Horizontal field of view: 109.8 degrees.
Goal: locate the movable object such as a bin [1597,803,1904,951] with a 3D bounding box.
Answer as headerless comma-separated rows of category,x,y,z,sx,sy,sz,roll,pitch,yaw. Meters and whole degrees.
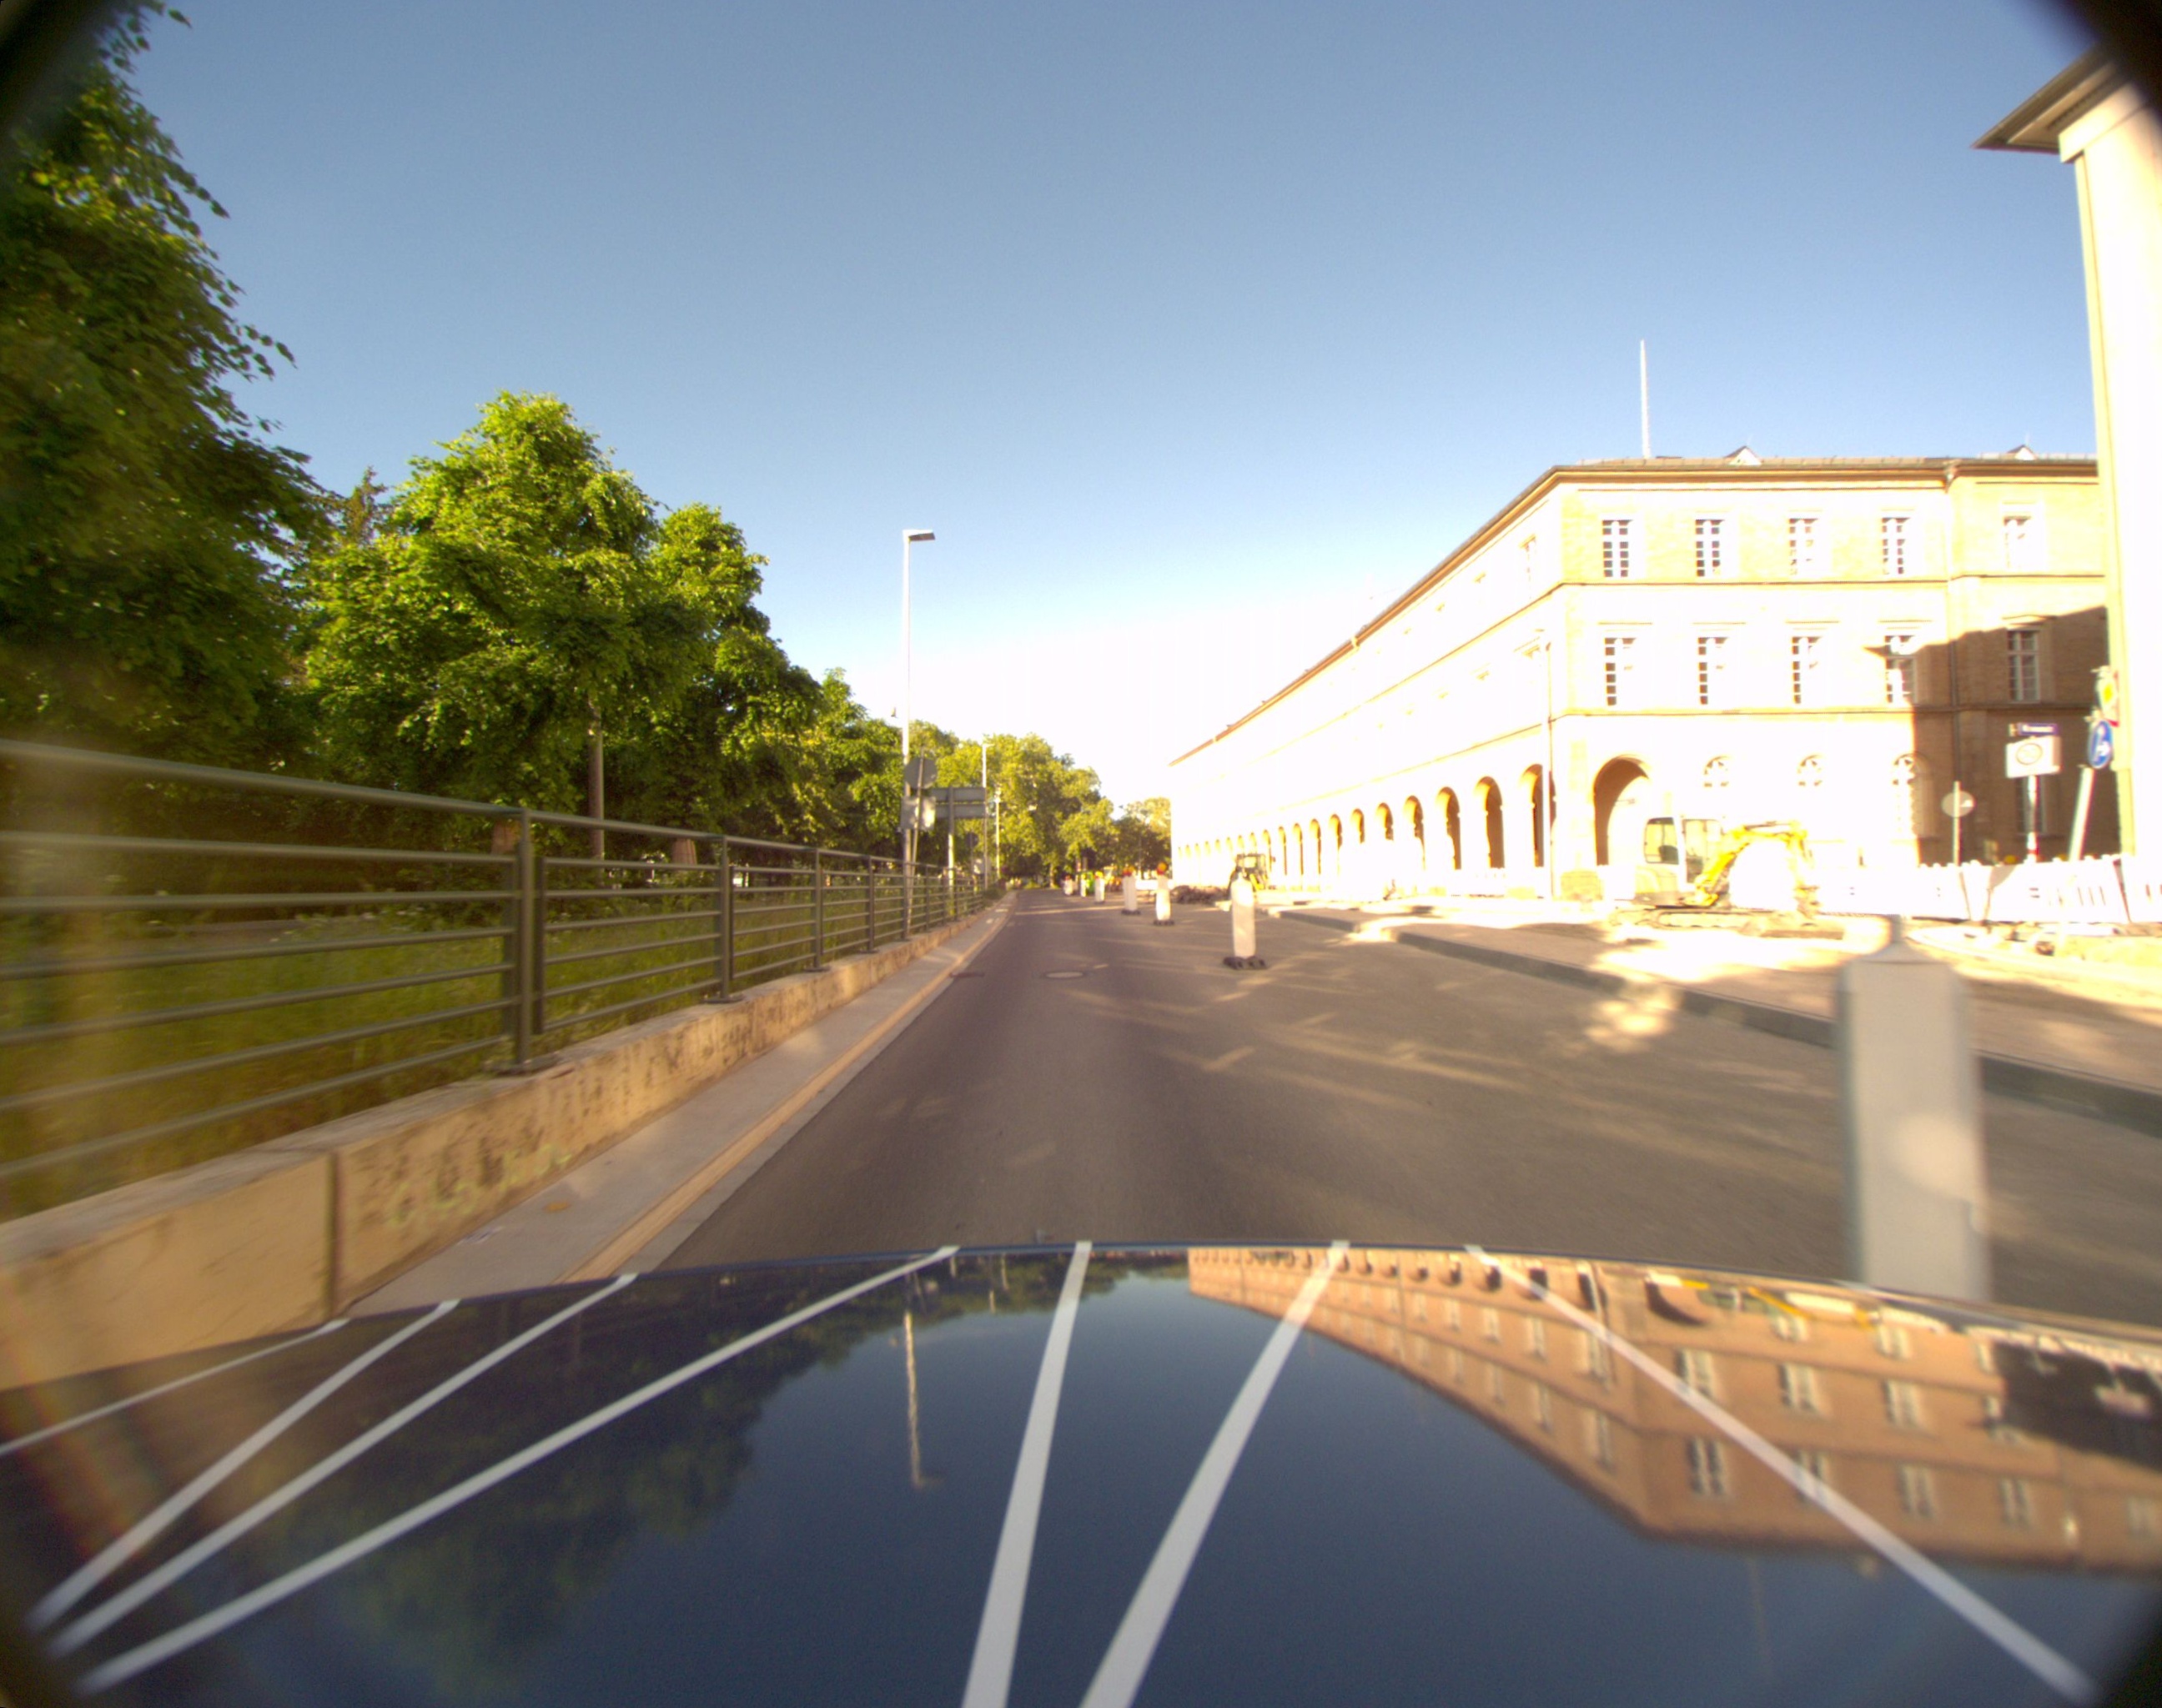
movable object such as a bin,12.364,0.398,14.524,2.104,2.381,4.308,1,-1,1

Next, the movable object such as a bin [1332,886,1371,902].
movable object such as a bin,11.676,1.723,32.878,1.191,0.694,1.240,0,-2,-5

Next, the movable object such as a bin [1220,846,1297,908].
movable object such as a bin,7.458,0.987,32.457,1.796,2.438,4.535,0,-2,-6

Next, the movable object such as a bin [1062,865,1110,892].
movable object such as a bin,0.368,1.905,58.656,3.245,2.064,2.108,0,-2,-16
